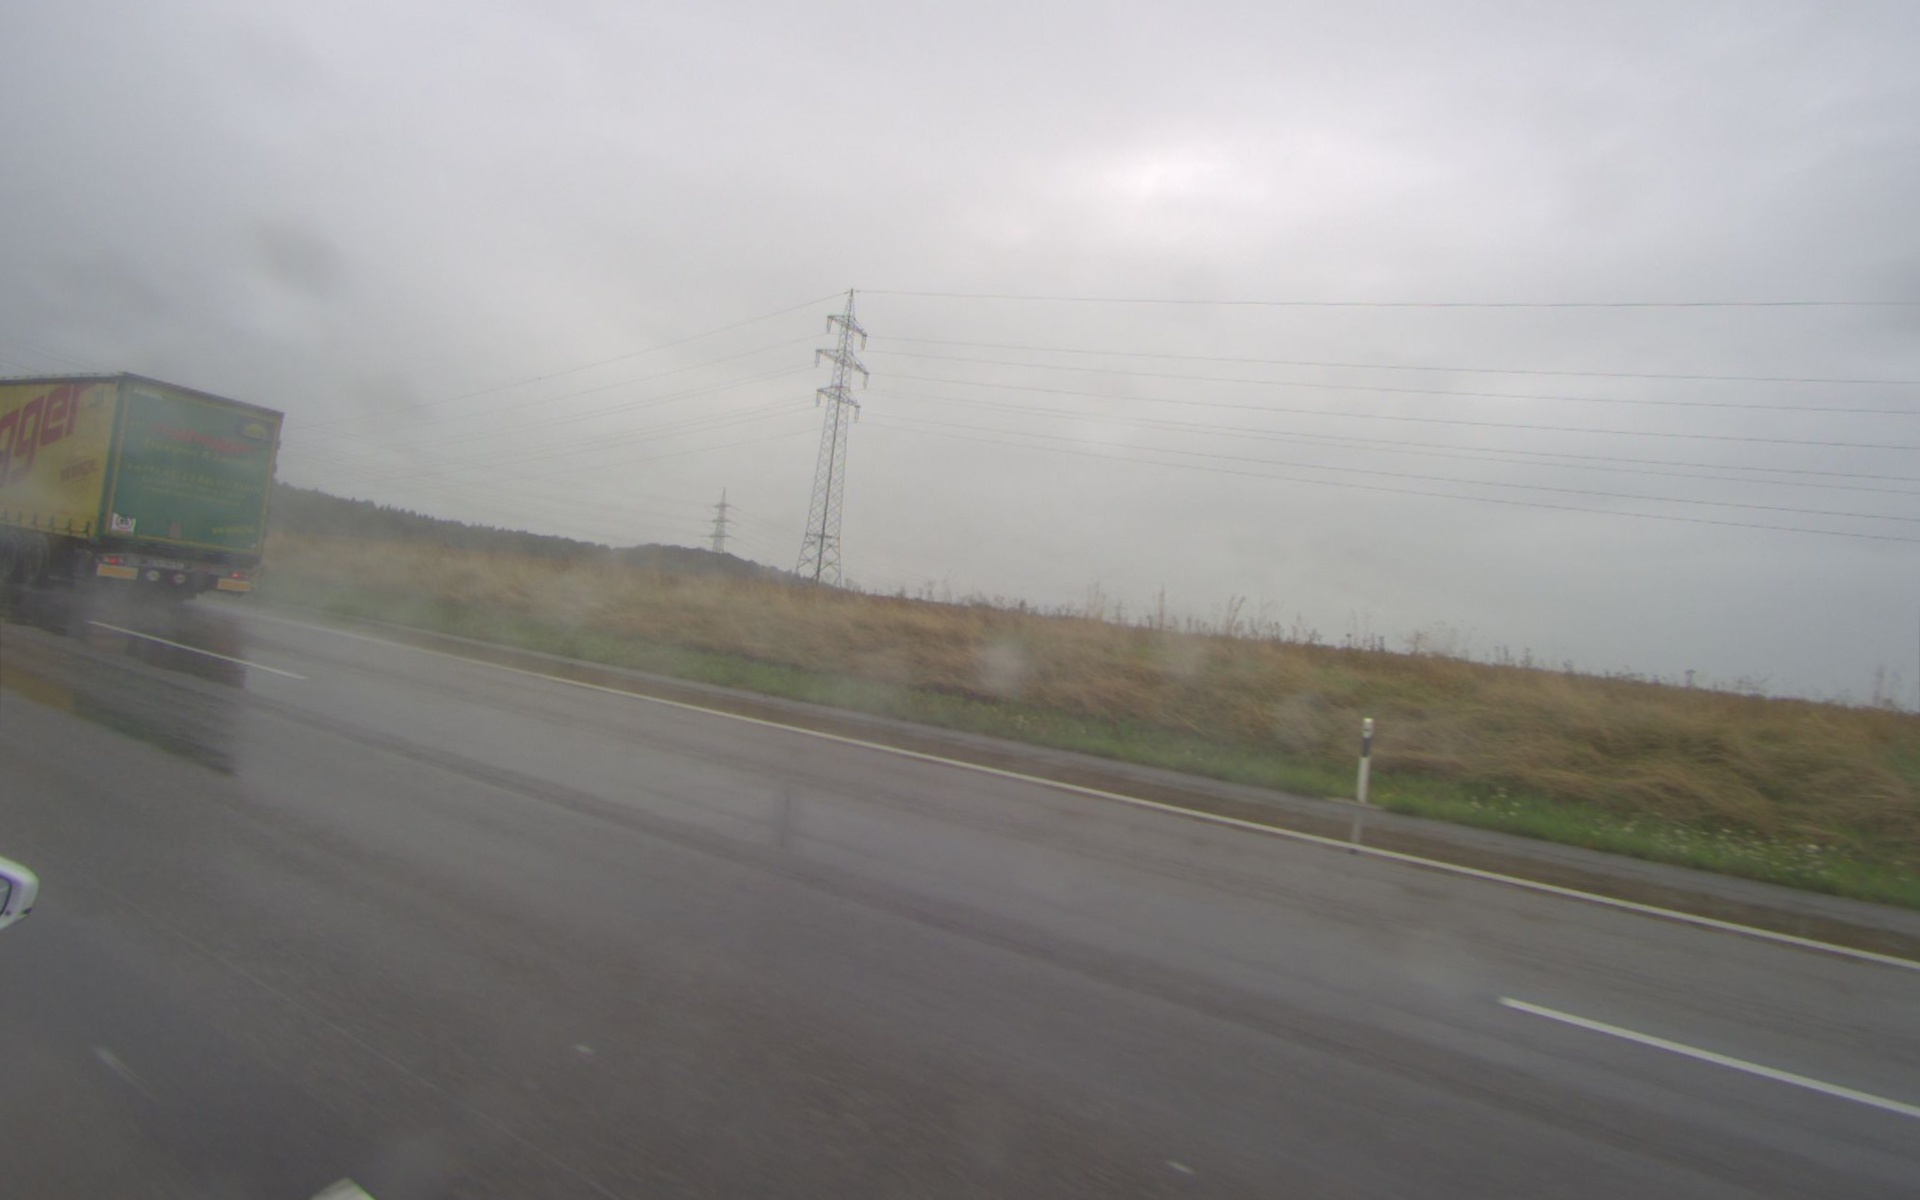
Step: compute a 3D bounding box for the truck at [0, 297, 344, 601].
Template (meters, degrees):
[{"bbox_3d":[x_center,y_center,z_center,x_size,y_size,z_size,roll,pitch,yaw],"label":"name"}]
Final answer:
[{"bbox_3d":[-20.281,-3.241,22.657,15.843,4.686,4.194,7,0,33],"label":"truck"}]
